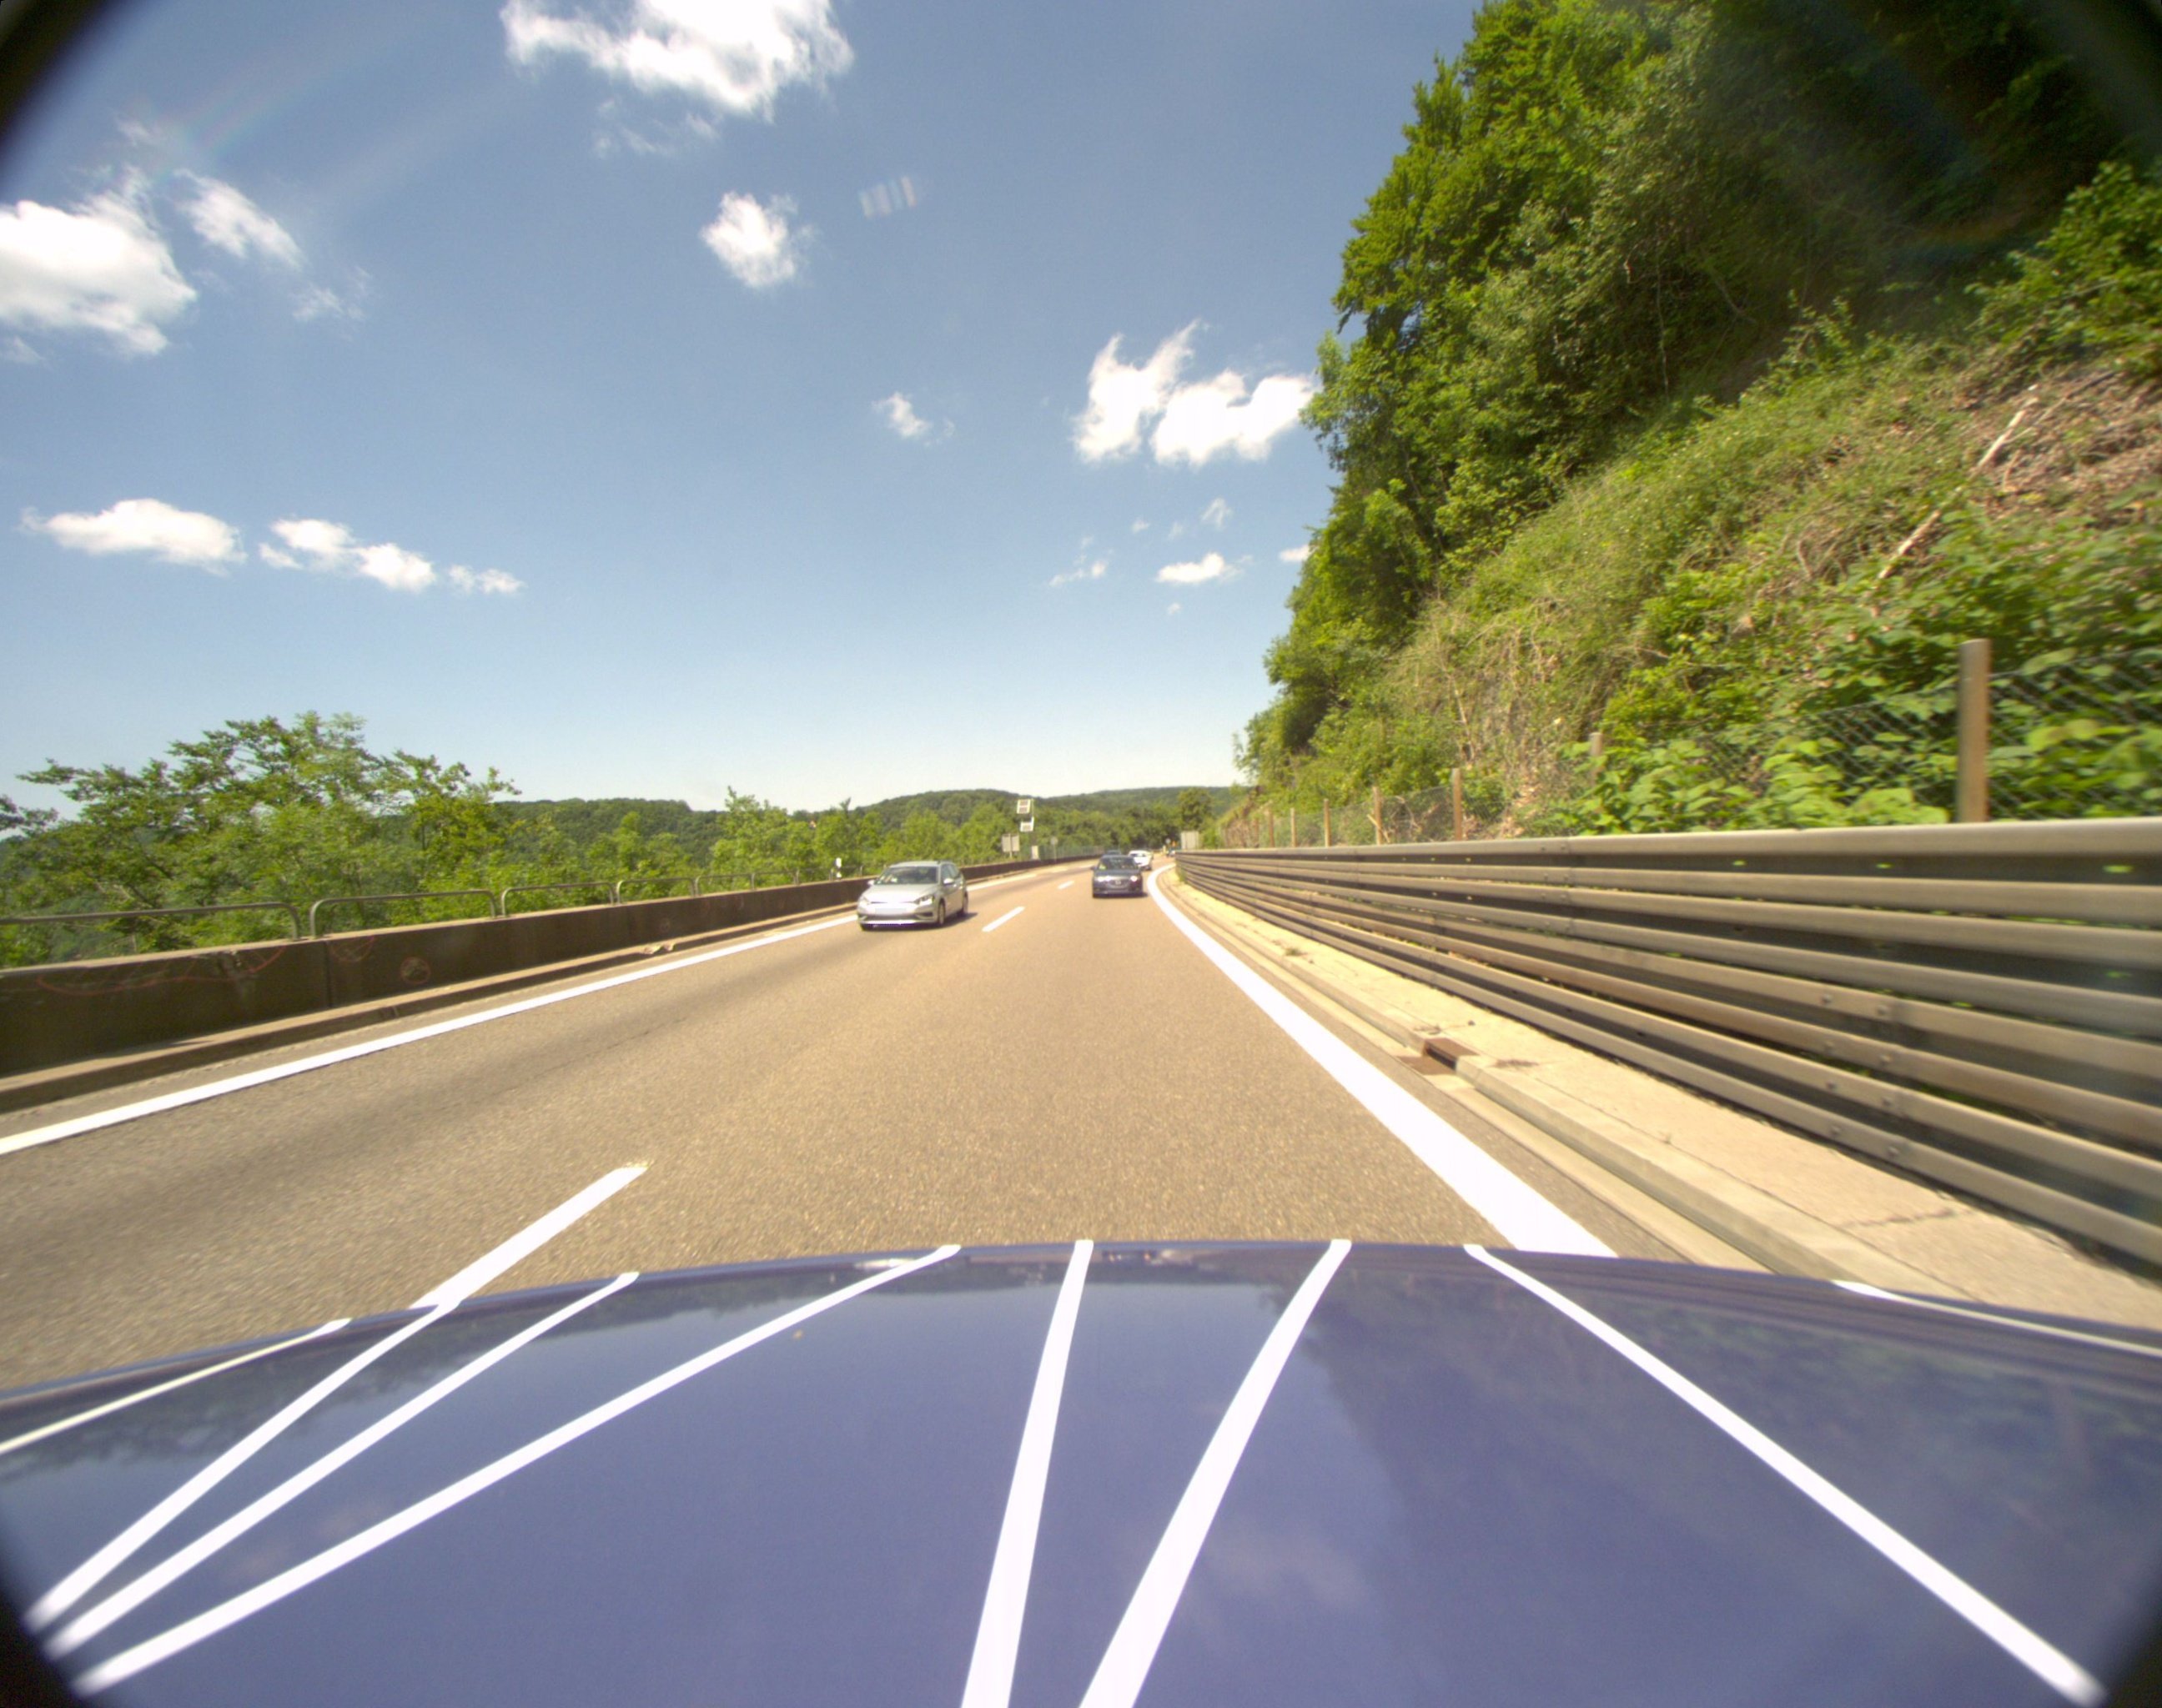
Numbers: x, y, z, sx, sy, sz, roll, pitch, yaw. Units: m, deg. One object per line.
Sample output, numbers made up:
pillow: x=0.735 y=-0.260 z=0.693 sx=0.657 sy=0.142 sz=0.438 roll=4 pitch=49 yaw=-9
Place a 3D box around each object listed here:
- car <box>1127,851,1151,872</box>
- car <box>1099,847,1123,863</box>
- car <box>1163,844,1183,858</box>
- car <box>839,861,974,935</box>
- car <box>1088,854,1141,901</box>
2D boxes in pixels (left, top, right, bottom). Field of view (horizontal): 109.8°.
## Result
car: x=4.322 y=0.504 z=56.647 sx=1.702 sy=1.432 sz=4.044 roll=-1 pitch=1 yaw=5
car: x=3.009 y=0.083 z=75.360 sx=1.874 sy=1.565 sz=4.002 roll=-2 pitch=1 yaw=8
car: x=13.533 y=-0.423 z=111.095 sx=1.996 sy=2.002 sz=4.005 roll=-1 pitch=0 yaw=20
car: x=-3.869 y=0.920 z=17.668 sx=1.972 sy=1.370 sz=4.294 roll=-1 pitch=1 yaw=2
car: x=1.199 y=0.766 z=26.380 sx=1.668 sy=1.415 sz=4.044 roll=-1 pitch=1 yaw=3
